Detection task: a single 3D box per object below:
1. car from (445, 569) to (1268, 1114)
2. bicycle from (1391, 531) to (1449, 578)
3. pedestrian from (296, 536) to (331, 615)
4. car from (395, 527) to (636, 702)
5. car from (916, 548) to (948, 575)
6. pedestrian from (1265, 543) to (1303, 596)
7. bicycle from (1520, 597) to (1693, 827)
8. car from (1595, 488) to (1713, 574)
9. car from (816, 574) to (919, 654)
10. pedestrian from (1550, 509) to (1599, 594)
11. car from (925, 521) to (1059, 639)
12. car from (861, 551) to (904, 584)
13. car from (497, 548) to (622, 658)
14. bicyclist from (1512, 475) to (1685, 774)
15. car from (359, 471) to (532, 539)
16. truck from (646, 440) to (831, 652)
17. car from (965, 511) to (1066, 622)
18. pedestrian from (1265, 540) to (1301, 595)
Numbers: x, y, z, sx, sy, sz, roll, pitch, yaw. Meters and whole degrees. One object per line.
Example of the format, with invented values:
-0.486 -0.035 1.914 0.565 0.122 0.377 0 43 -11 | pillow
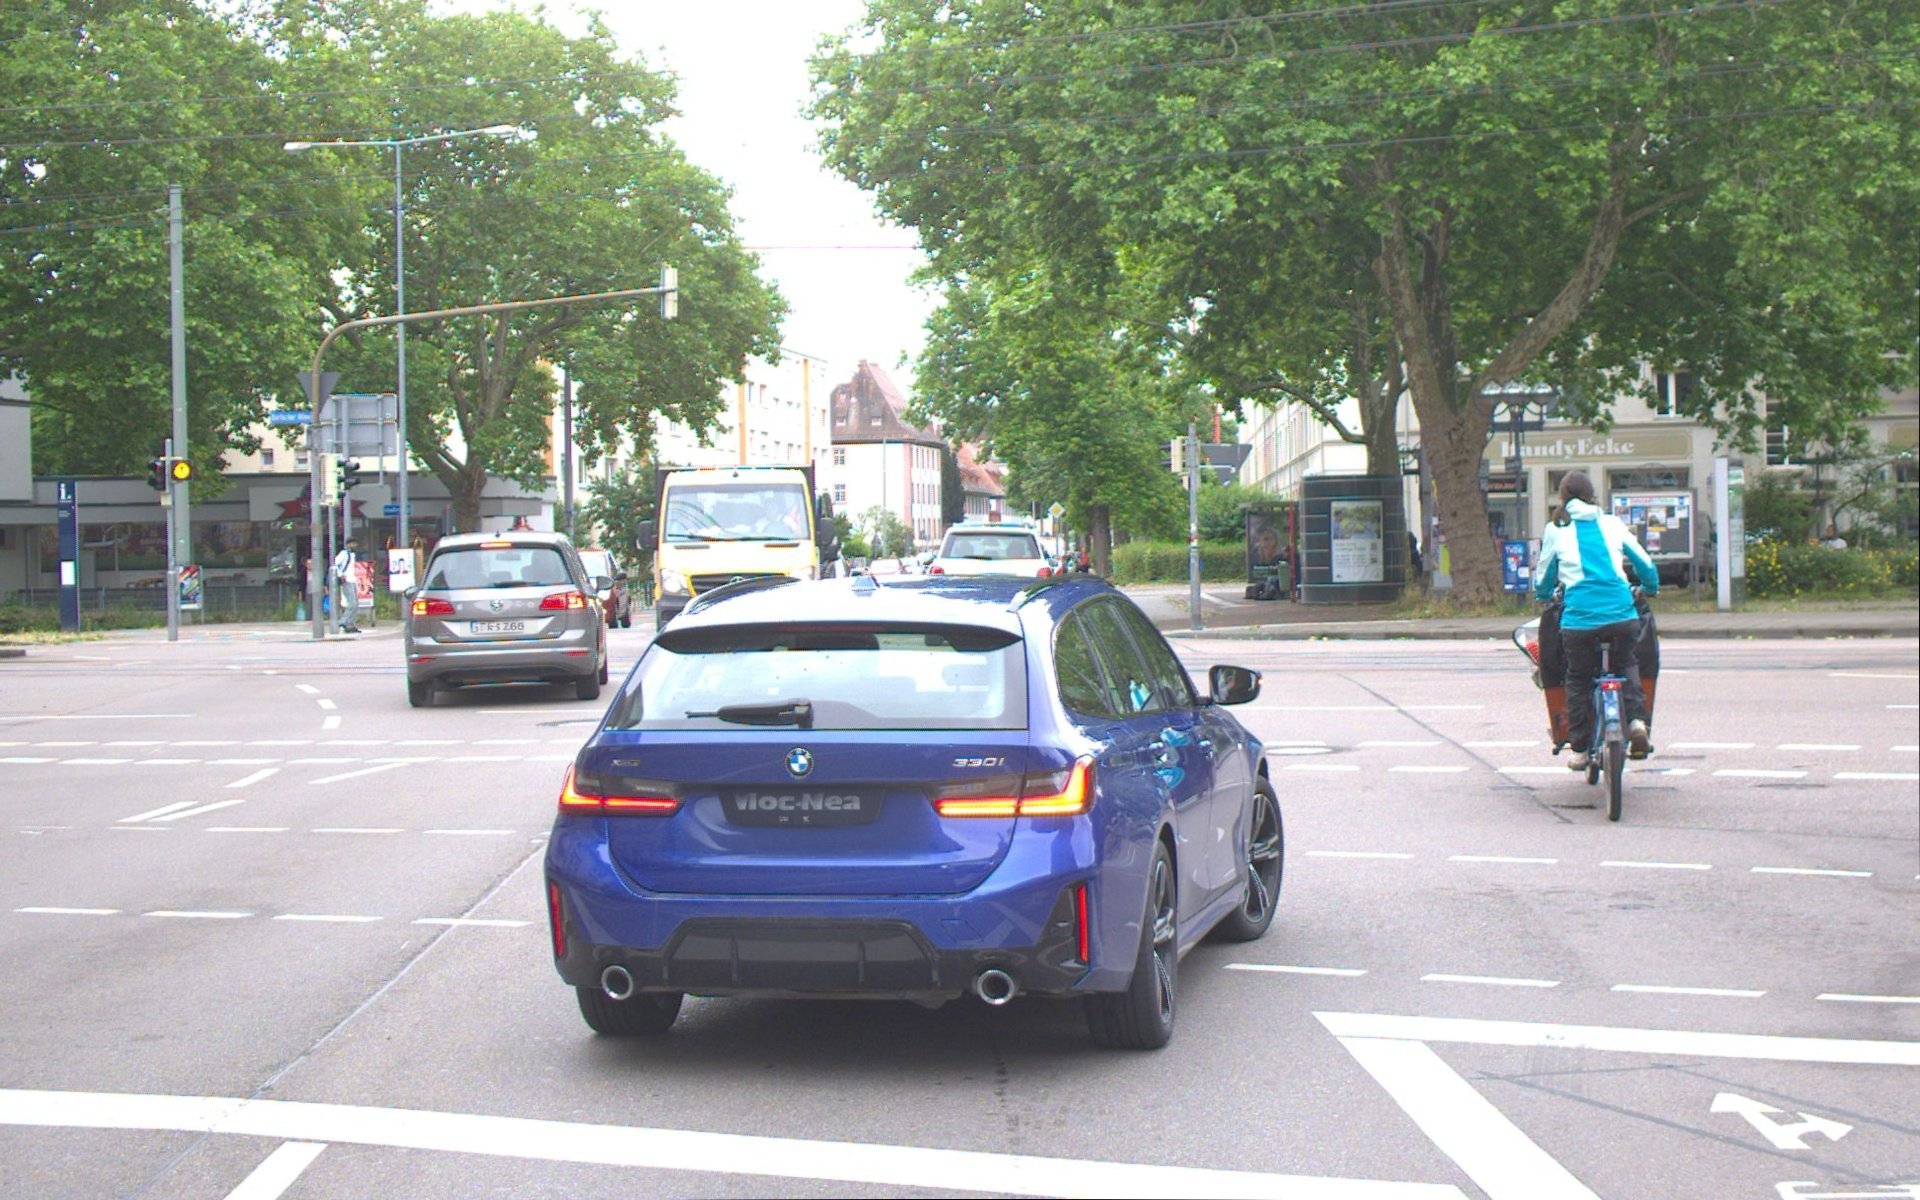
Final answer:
-0.115 0.649 11.534 1.816 1.400 4.318 -1 1 11 | car
11.824 -1.182 88.255 0.779 1.164 2.330 -1 1 25 | bicycle
-14.701 -0.566 78.221 0.574 1.779 0.620 -1 1 8 | pedestrian
-4.149 0.086 32.632 1.732 1.519 4.000 -1 1 0 | car
-1.597 -2.228 198.985 1.767 1.481 4.000 -1 1 1 | car
8.155 -0.778 86.519 0.853 1.310 0.762 -1 1 0 | pedestrian
3.404 0.558 18.244 0.494 1.094 2.139 -1 1 0 | bicycle
18.471 -1.845 91.369 2.177 2.193 3.995 -1 1 24 | car
-1.771 0.245 66.712 1.809 1.422 4.317 -1 1 1 | car
12.686 -0.997 70.988 0.784 1.737 0.925 -1 1 -1 | pedestrian
0.439 -0.314 49.373 1.815 1.586 4.000 -1 1 0 | car
-3.607 -1.516 160.244 1.853 1.448 4.167 -1 1 0 | car
-7.784 0.025 67.088 1.920 2.007 3.936 -1 1 0 | car
3.347 0.116 18.094 0.686 1.512 1.058 -1 1 0 | bicyclist
-13.374 -2.464 89.315 3.986 1.700 2.000 -1 0 -28 | car
-2.761 -0.686 42.622 2.074 2.400 5.463 -2 1 -4 | truck
1.025 -0.661 65.701 1.815 1.998 4.000 -1 1 0 | car
8.208 -0.833 87.498 0.817 1.367 0.762 -1 1 0 | pedestrian
